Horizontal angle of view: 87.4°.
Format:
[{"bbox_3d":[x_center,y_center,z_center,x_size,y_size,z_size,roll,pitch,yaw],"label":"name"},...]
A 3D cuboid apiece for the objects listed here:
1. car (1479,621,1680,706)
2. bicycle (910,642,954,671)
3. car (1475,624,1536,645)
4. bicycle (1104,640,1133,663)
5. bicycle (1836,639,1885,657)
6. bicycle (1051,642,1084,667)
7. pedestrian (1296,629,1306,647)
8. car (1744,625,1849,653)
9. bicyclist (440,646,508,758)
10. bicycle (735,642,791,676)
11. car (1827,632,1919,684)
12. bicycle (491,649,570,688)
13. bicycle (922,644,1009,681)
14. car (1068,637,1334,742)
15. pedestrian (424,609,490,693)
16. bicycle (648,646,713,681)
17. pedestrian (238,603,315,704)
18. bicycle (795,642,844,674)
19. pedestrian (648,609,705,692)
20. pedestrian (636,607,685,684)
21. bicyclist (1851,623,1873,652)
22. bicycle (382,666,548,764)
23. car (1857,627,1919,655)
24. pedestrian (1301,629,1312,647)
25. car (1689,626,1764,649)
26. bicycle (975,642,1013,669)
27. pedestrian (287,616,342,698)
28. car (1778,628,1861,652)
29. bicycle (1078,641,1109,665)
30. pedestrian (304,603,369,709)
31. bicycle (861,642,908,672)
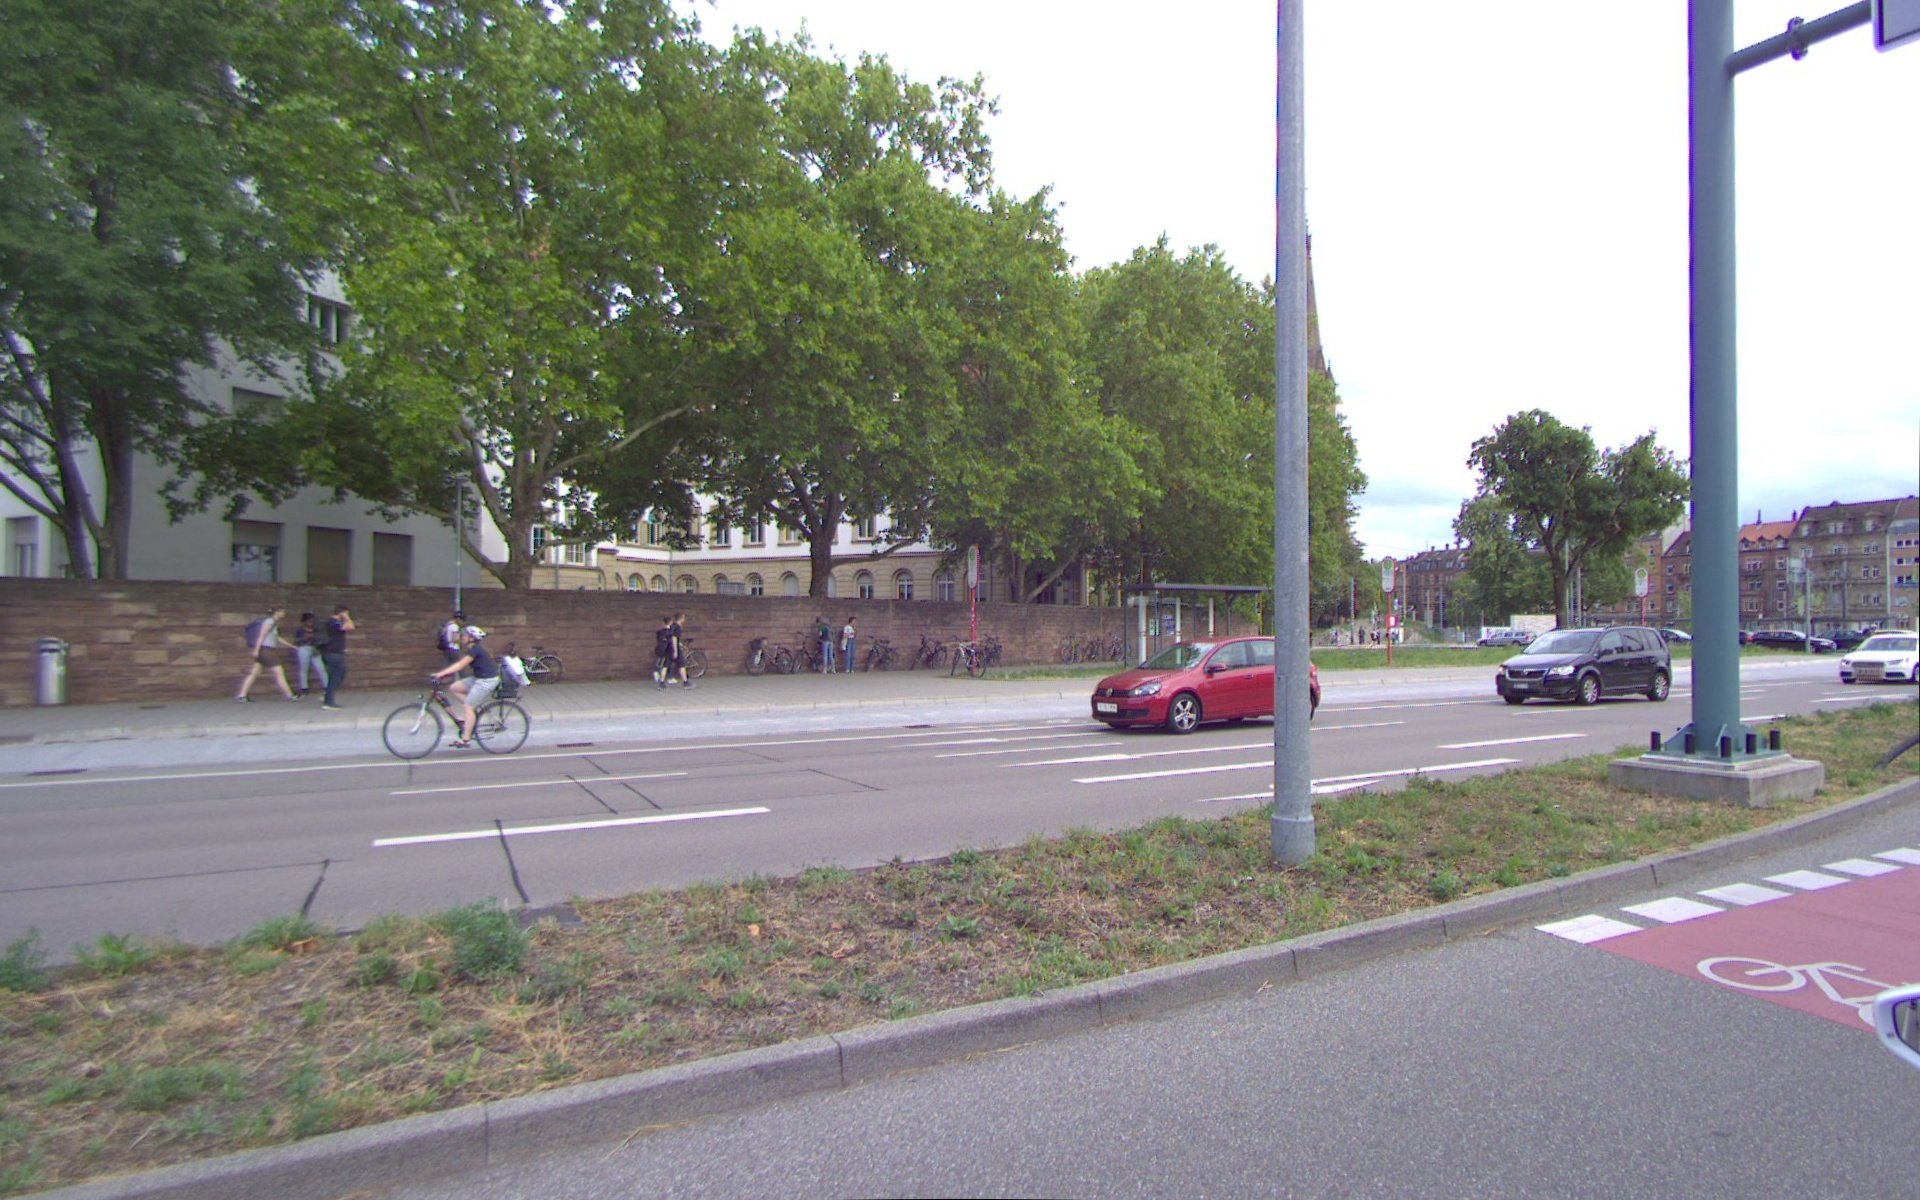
[{"bbox_3d":[13.350,1.327,21.601,4.247,1.687,1.795,1,-3,-29],"label":"car"},{"bbox_3d":[-0.902,1.830,32.802,0.435,0.890,1.613,2,0,40],"label":"bicycle"},{"bbox_3d":[44.538,2.808,82.122,1.629,1.671,4.129,1,-2,-33],"label":"car"},{"bbox_3d":[6.688,2.176,42.419,0.475,0.919,1.614,2,0,37],"label":"bicycle"},{"bbox_3d":[51.023,2.730,56.931,0.624,0.995,1.953,1,-2,-32],"label":"bicycle"},{"bbox_3d":[4.190,2.096,39.057,0.475,0.919,1.614,2,0,37],"label":"bicycle"},{"bbox_3d":[30.814,3.431,90.747,0.718,1.581,0.558,1,-2,-34],"label":"pedestrian"},{"bbox_3d":[51.163,2.348,61.521,1.642,1.495,4.642,1,0,-32],"label":"car"},{"bbox_3d":[-6.534,1.350,13.513,0.801,1.437,0.578,1,-1,-27],"label":"bicyclist"},{"bbox_3d":[-5.450,1.634,27.863,0.412,0.890,1.546,2,0,44],"label":"bicycle"},{"bbox_3d":[27.124,1.638,29.153,3.873,1.407,1.664,1,-2,-28],"label":"car"},{"bbox_3d":[-9.943,1.565,23.295,0.436,0.838,1.611,2,0,44],"label":"bicycle"},{"bbox_3d":[0.152,1.659,26.799,2.304,0.931,0.469,1,-1,-21],"label":"bicycle"},{"bbox_3d":[4.018,1.384,16.611,4.238,1.509,1.793,1,-2,-30],"label":"car"},{"bbox_3d":[-10.495,1.055,20.964,0.748,1.693,0.922,0,-2,33],"label":"pedestrian"},{"bbox_3d":[-7.229,1.642,26.072,0.436,0.838,1.611,2,0,44],"label":"bicycle"},{"bbox_3d":[-12.707,0.983,18.672,0.748,1.806,0.912,0,-2,33],"label":"pedestrian"},{"bbox_3d":[-4.090,1.679,29.282,0.343,0.890,1.513,2,0,44],"label":"bicycle"},{"bbox_3d":[-6.326,1.120,22.432,0.748,1.806,0.922,0,-2,33],"label":"pedestrian"},{"bbox_3d":[-7.252,1.099,24.340,0.748,1.806,0.782,0,-2,33],"label":"pedestrian"},{"bbox_3d":[51.062,2.111,56.870,0.566,1.665,0.782,1,-2,-33],"label":"bicyclist"},{"bbox_3d":[-6.600,1.512,13.470,1.939,1.186,0.579,1,-1,-27],"label":"bicycle"},{"bbox_3d":[53.897,2.325,57.240,1.642,1.537,3.834,1,0,-32],"label":"car"},{"bbox_3d":[30.958,3.422,89.698,0.718,1.581,0.558,1,-2,-34],"label":"pedestrian"},{"bbox_3d":[51.974,2.518,68.159,1.567,1.413,3.742,1,0,-32],"label":"car"},{"bbox_3d":[1.208,1.940,35.369,0.475,0.919,1.614,-1,-2,38],"label":"bicycle"},{"bbox_3d":[-12.972,1.135,20.187,0.579,1.613,0.732,0,-2,39],"label":"pedestrian"},{"bbox_3d":[54.720,2.518,64.038,1.567,1.413,3.742,1,0,-32],"label":"car"},{"bbox_3d":[5.429,2.137,40.867,0.475,0.919,1.614,2,0,37],"label":"bicycle"},{"bbox_3d":[-10.906,0.975,17.579,0.749,1.805,0.719,-2,-3,38],"label":"pedestrian"},{"bbox_3d":[-2.336,1.752,31.160,0.435,0.890,1.613,2,0,40],"label":"bicycle"}]
